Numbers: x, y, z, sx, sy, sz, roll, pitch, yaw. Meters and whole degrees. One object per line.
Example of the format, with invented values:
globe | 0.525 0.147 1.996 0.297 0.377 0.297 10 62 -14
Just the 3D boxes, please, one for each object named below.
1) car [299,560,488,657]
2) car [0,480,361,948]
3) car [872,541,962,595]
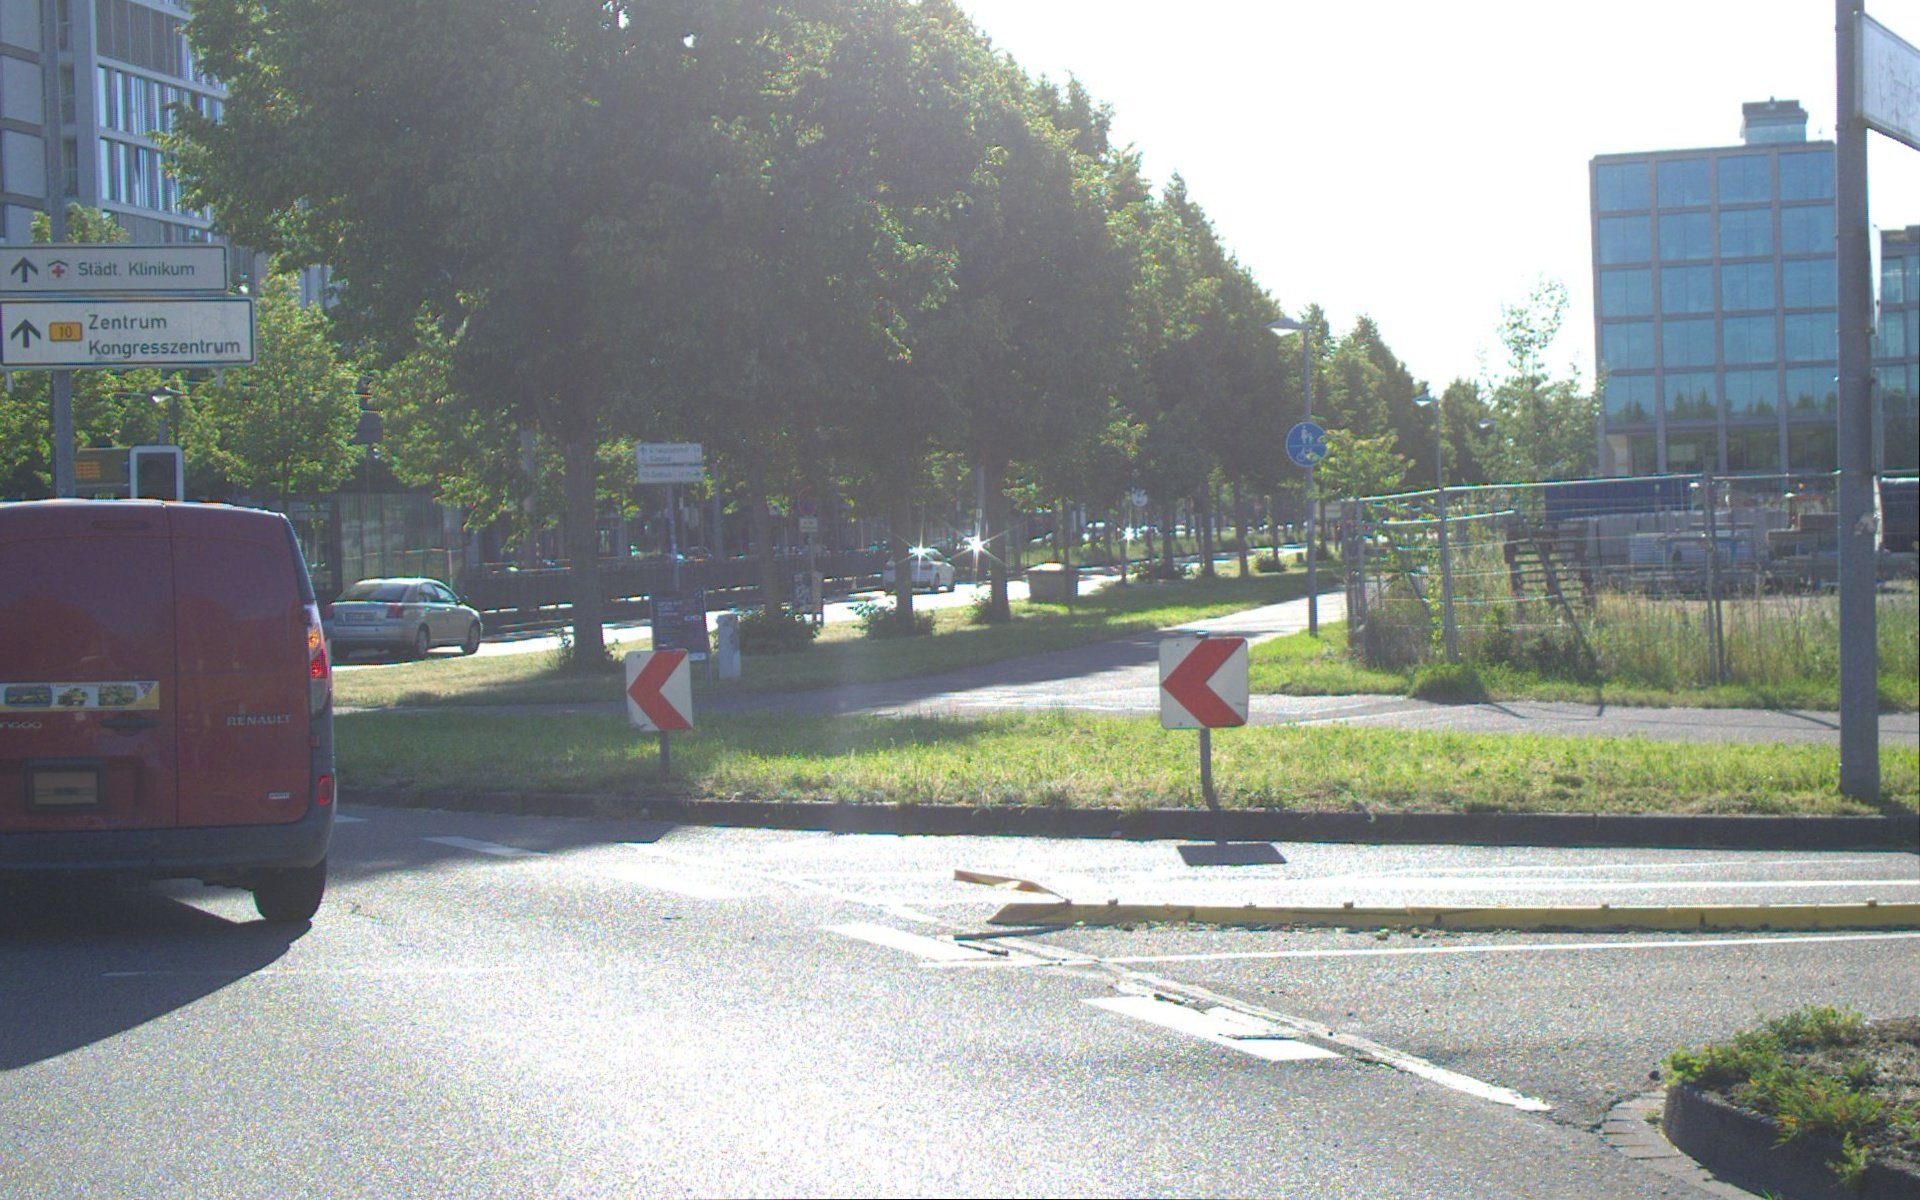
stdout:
car | -10.503 0.132 64.062 1.994 1.569 4.406 -2 2 11
car | -4.073 0.443 15.243 1.802 1.807 3.810 0 0 -26
car | -1.363 -1.055 110.908 1.994 1.569 4.406 -2 2 11
